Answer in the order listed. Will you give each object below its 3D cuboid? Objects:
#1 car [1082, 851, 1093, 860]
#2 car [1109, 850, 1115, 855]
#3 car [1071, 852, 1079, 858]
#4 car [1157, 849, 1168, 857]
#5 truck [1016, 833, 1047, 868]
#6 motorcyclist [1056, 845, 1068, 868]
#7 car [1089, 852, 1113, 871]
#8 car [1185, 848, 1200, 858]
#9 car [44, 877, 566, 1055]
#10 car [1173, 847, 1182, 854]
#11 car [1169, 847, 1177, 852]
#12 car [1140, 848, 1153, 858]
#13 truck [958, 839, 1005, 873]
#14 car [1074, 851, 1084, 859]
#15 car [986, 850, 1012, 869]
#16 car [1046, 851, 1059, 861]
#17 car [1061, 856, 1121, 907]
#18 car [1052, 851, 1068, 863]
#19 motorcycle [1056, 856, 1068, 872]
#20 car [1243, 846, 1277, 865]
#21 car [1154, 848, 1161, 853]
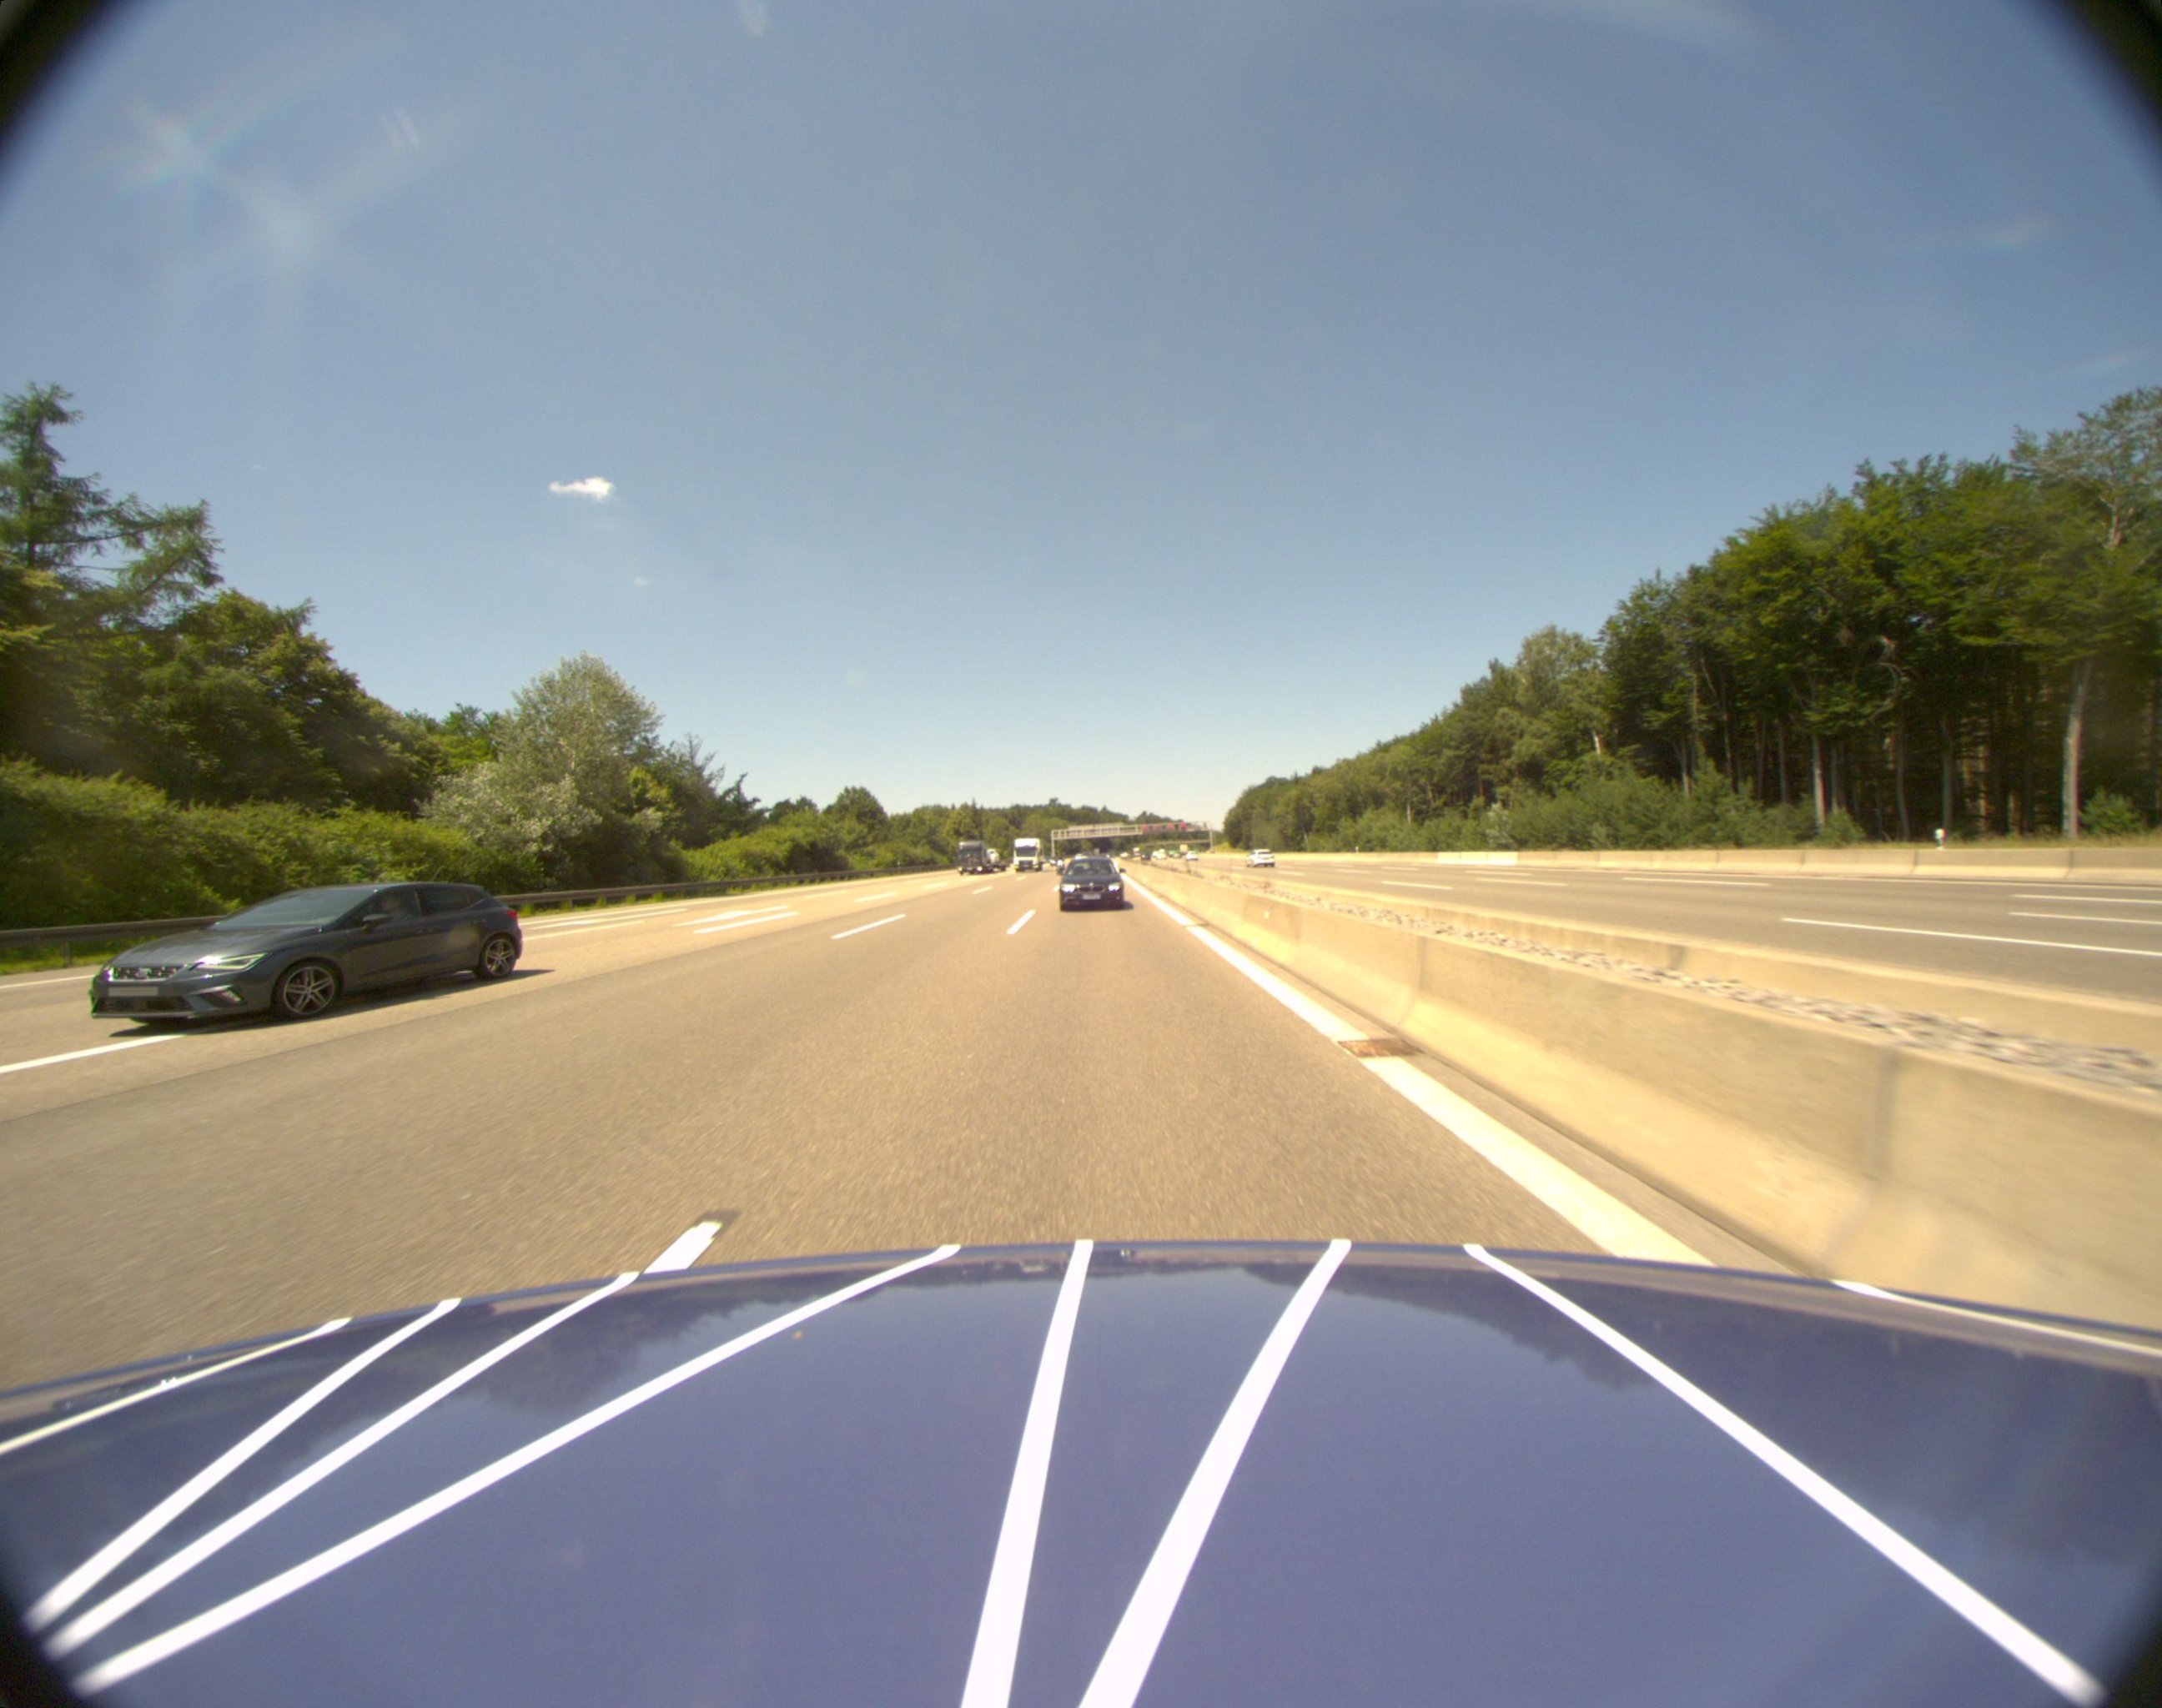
[{"bbox_3d":[1.320,0.288,150.780,1.998,1.671,4.127,-2,1,2],"label":"car"},{"bbox_3d":[9.642,-0.564,236.387,1.910,1.450,4.128,-2,1,4],"label":"car"},{"bbox_3d":[-1.450,0.325,178.151,1.649,1.346,4.000,-2,0,3],"label":"car"},{"bbox_3d":[16.509,-0.231,154.230,1.764,1.346,4.000,-2,1,2],"label":"car"},{"bbox_3d":[-4.851,-0.350,76.138,2.428,3.237,8.688,-2,1,0],"label":"truck"},{"bbox_3d":[-1.686,0.229,66.619,0.914,1.926,0.905,-3,1,0],"label":"motorcyclist"},{"bbox_3d":[1.648,0.624,64.743,1.834,1.454,4.203,-2,1,-1],"label":"car"},{"bbox_3d":[17.701,-0.198,120.420,1.998,1.392,3.868,-2,1,3],"label":"car"},{"bbox_3d":[-9.049,1.155,9.631,1.647,1.430,4.635,-2,1,2],"label":"car"},{"bbox_3d":[21.227,-0.798,166.611,1.649,1.346,2.908,-2,1,1],"label":"car"},{"bbox_3d":[22.923,-1.128,188.710,1.649,1.346,4.000,-2,1,2],"label":"car"},{"bbox_3d":[11.570,-0.236,135.148,1.998,1.636,4.000,-2,1,1],"label":"car"},{"bbox_3d":[-9.327,0.097,72.362,2.660,2.839,10.885,-2,1,1],"label":"truck"},{"bbox_3d":[-0.468,0.245,162.971,1.998,1.671,4.127,-2,1,2],"label":"car"},{"bbox_3d":[-8.767,0.530,81.909,1.998,1.885,4.870,-2,1,2],"label":"car"},{"bbox_3d":[-5.264,0.408,140.399,1.998,1.671,4.127,-2,1,2],"label":"car"},{"bbox_3d":[0.325,0.836,25.320,1.741,1.450,4.542,-2,0,0],"label":"car"},{"bbox_3d":[-3.051,0.395,111.473,1.998,1.671,4.127,-2,1,1],"label":"car"},{"bbox_3d":[-1.658,0.824,66.801,0.925,1.311,2.997,-3,1,0],"label":"motorcycle"},{"bbox_3d":[15.081,0.112,64.244,1.734,1.455,4.783,-2,0,0],"label":"car"},{"bbox_3d":[20.609,-0.899,205.332,1.649,1.346,4.000,-2,1,2],"label":"car"}]
